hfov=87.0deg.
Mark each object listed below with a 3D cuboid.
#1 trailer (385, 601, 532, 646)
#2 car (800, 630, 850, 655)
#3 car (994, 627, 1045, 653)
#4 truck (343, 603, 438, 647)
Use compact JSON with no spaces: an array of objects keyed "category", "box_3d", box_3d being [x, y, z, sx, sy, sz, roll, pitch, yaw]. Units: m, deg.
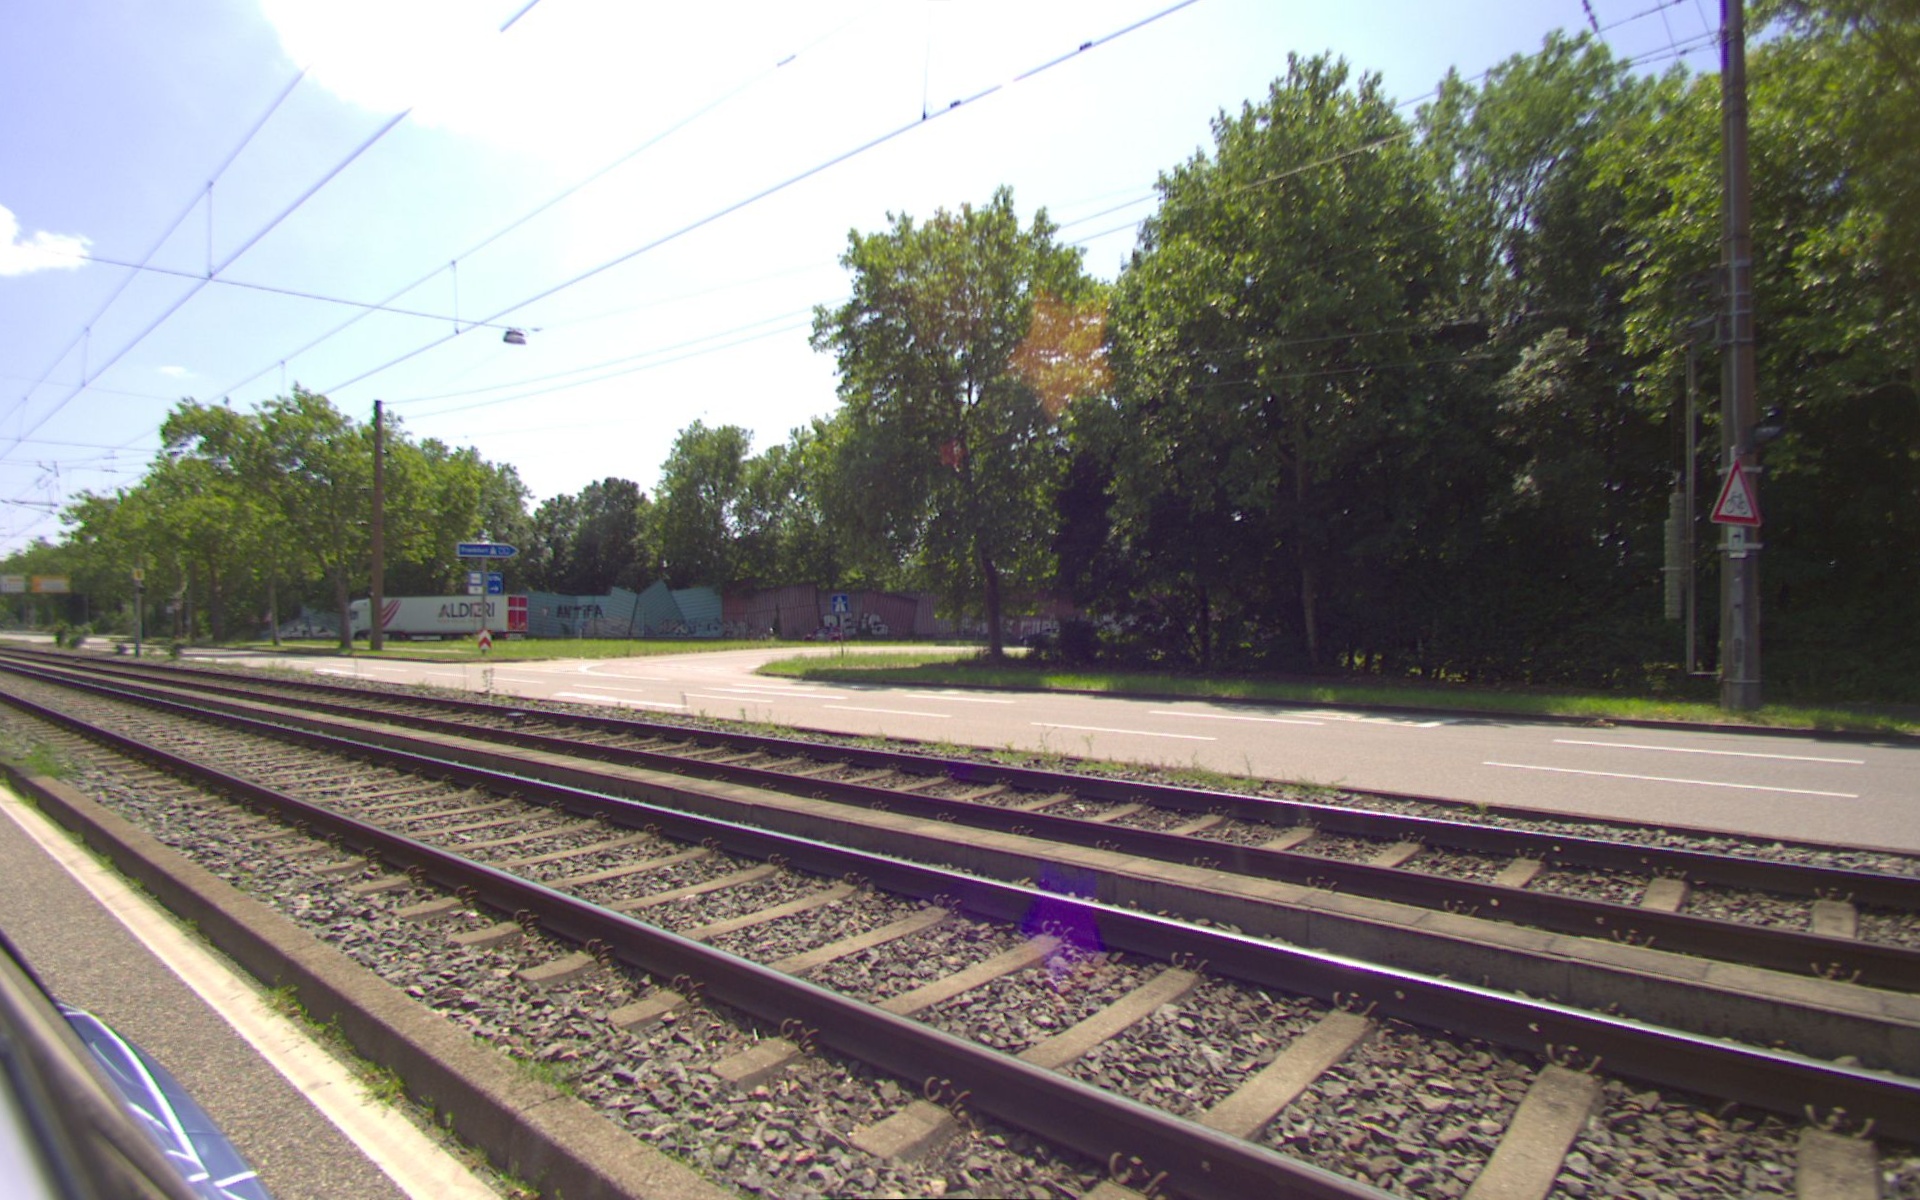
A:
[{"category":"trailer","box_3d":[-42.321,2.008,85.452,11.997,3.683,3.372,-1,-1,15]},{"category":"car","box_3d":[-10.103,3.193,75.777,3.368,1.805,1.557,-1,-2,16]},{"category":"car","box_3d":[4.208,2.862,71.925,3.368,1.805,1.557,-1,-2,16]},{"category":"truck","box_3d":[-49.071,2.189,87.300,6.696,3.730,3.402,-1,-1,15]}]
